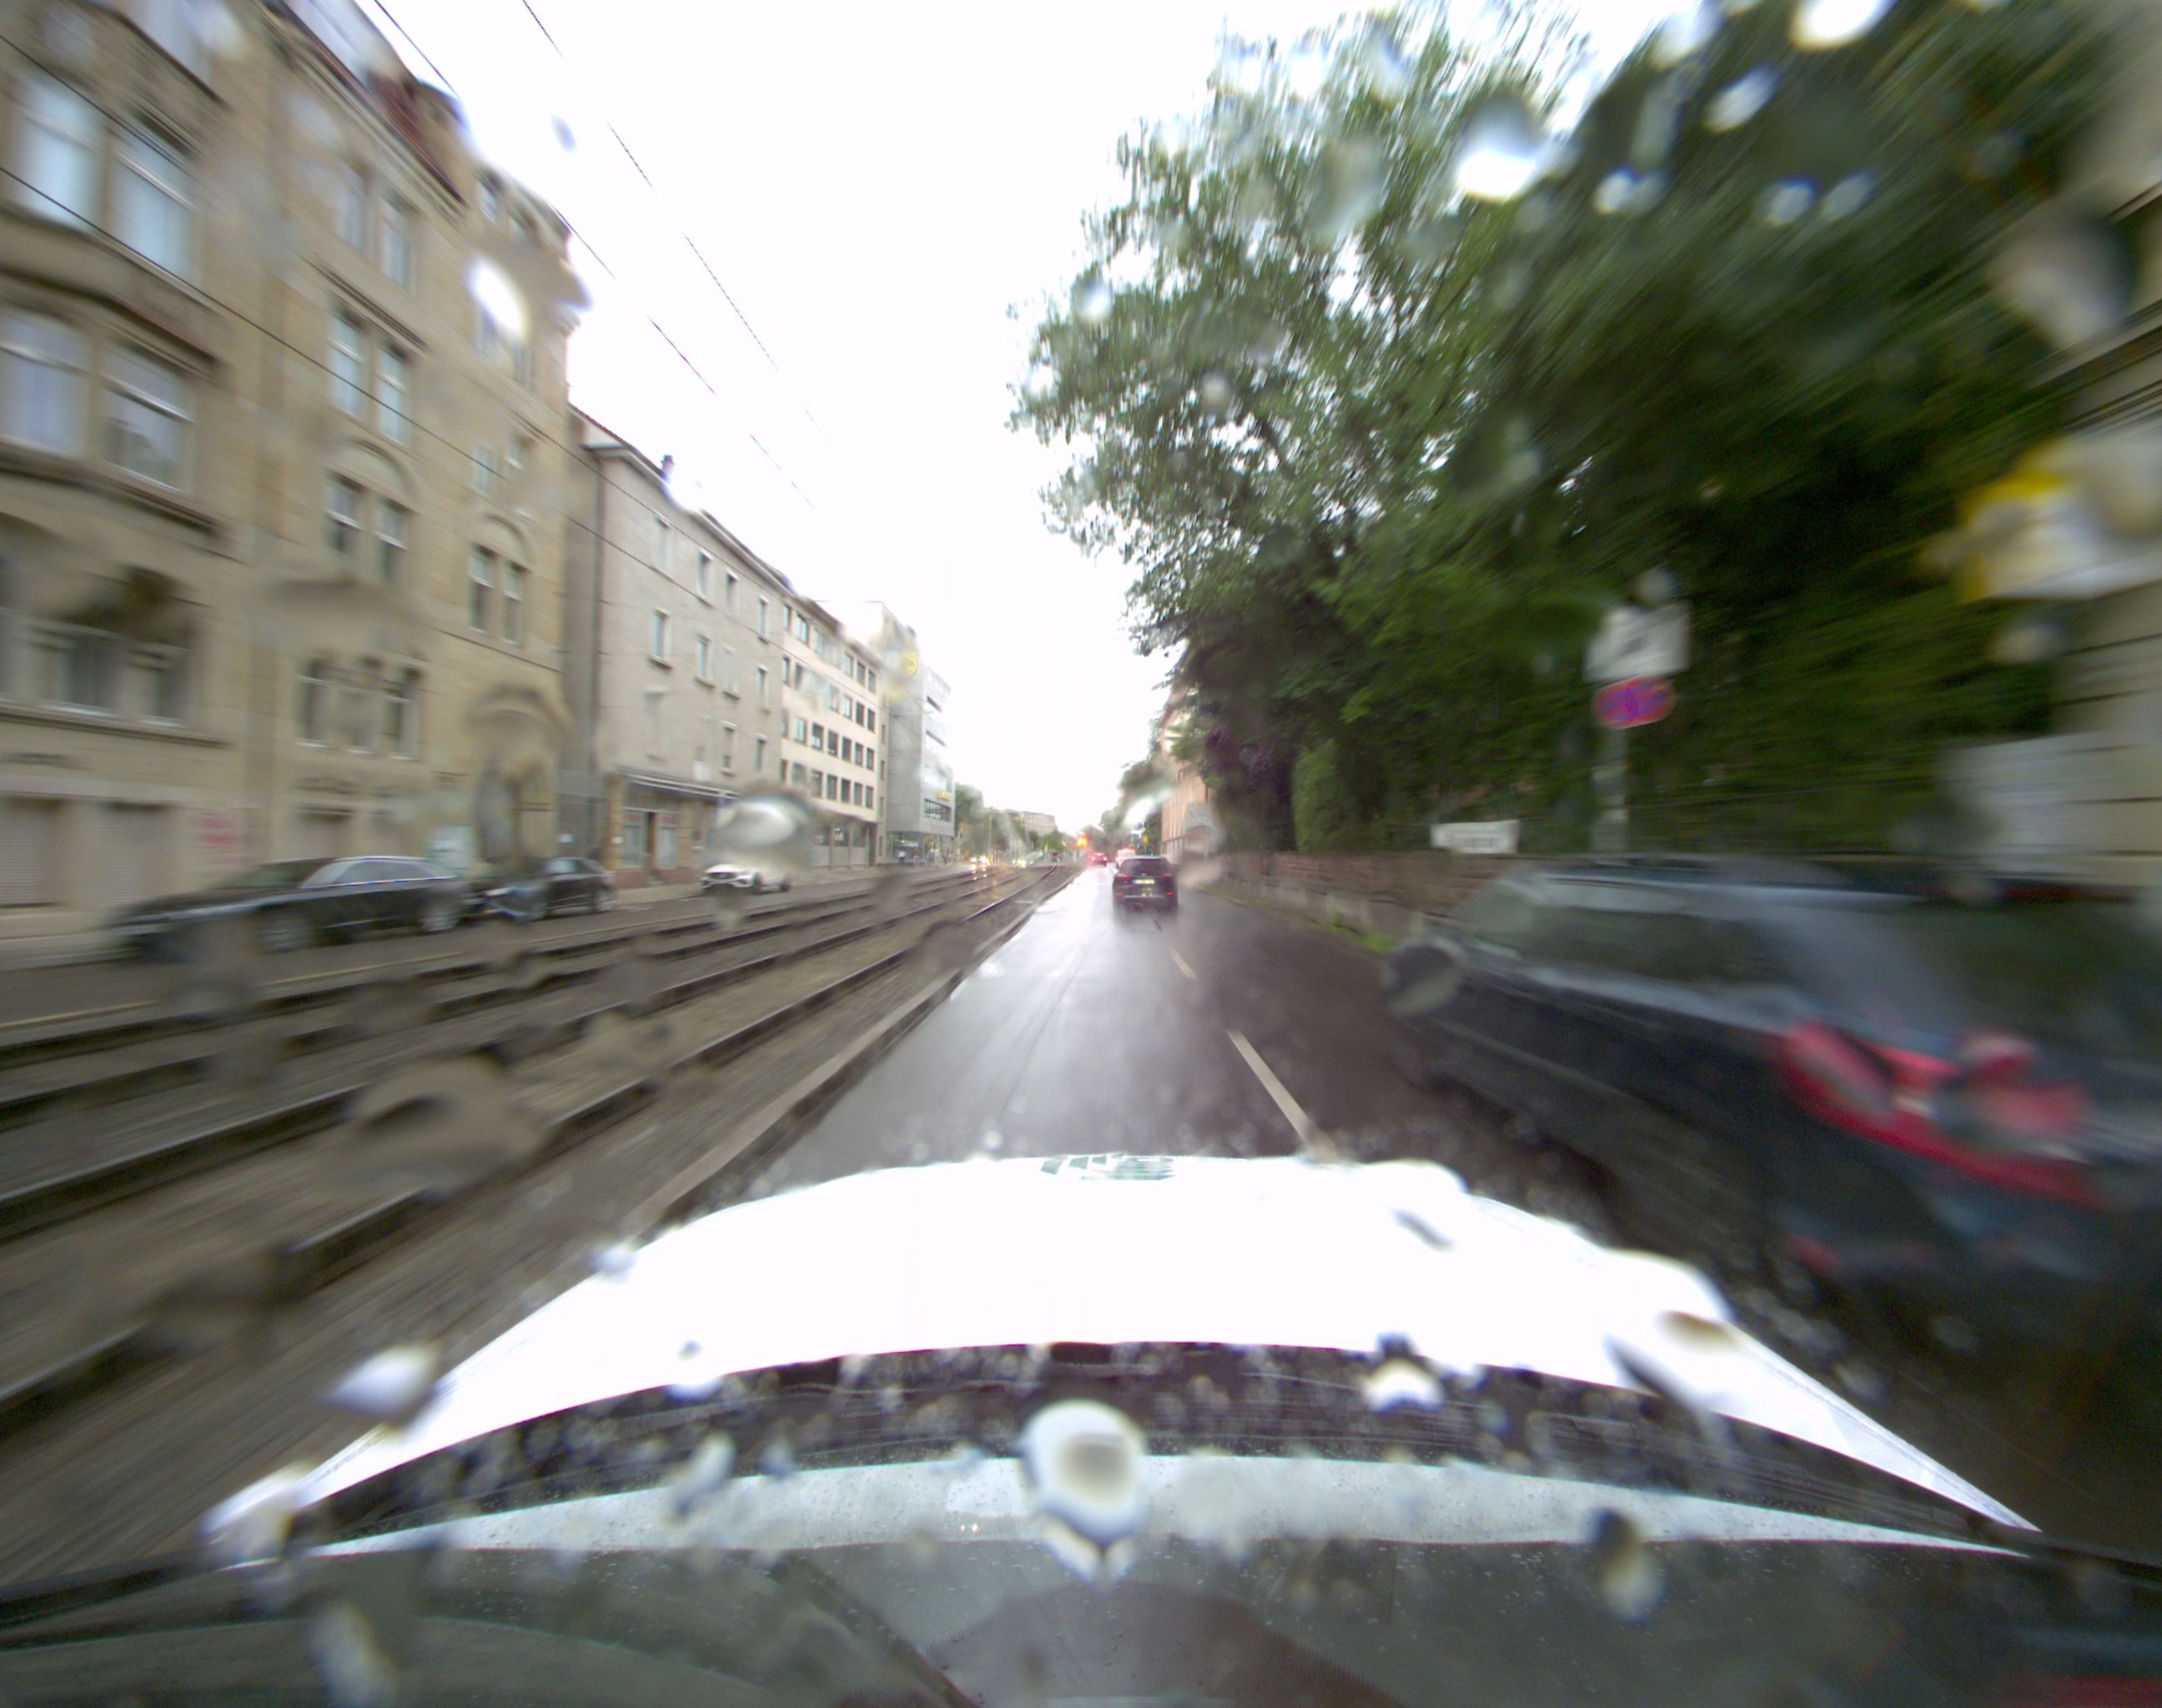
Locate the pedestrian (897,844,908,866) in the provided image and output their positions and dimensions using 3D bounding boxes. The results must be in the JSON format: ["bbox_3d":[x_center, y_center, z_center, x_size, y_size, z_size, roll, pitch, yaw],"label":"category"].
[{"bbox_3d":[-15.240,0.130,69.480,0.741,1.854,0.839,0,-2,0],"label":"pedestrian"}]

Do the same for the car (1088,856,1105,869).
[{"bbox_3d":[1.900,1.044,98.085,1.986,1.594,4.272,0,-1,2],"label":"car"}]

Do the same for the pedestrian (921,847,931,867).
[{"bbox_3d":[-14.487,0.297,75.906,0.741,1.854,0.839,0,-2,0],"label":"pedestrian"}]

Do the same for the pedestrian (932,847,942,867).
[{"bbox_3d":[-13.446,0.305,75.991,0.741,1.854,0.839,0,-2,0],"label":"pedestrian"}]

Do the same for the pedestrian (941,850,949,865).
[{"bbox_3d":[-16.708,0.393,99.892,0.741,1.854,0.839,0,-2,0],"label":"pedestrian"}]

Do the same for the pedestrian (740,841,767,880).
[{"bbox_3d":[-15.033,0.290,37.431,0.799,1.750,0.984,1,-1,0],"label":"pedestrian"}]

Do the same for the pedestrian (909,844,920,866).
[{"bbox_3d":[-14.206,0.098,69.552,0.741,1.854,0.839,0,-2,0],"label":"pedestrian"}]

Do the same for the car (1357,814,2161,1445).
[{"bbox_3d":[2.840,0.678,3.997,1.637,1.516,4.039,1,0,1],"label":"car"}]

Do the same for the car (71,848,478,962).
[{"bbox_3d":[-12.838,0.730,13.561,1.986,1.519,4.677,1,-1,1],"label":"car"}]

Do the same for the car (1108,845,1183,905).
[{"bbox_3d":[1.794,0.607,23.834,1.986,1.594,4.272,0,-1,2],"label":"car"}]

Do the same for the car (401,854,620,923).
[{"bbox_3d":[-12.984,0.731,18.955,1.986,1.376,4.239,1,-1,1],"label":"car"}]

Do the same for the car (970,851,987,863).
[{"bbox_3d":[-13.203,0.366,104.992,1.991,1.442,3.991,1,0,-7],"label":"car"}]

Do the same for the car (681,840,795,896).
[{"bbox_3d":[-12.594,0.504,30.328,1.987,1.839,5.070,1,-1,0],"label":"car"}]

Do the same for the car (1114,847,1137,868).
[{"bbox_3d":[4.062,0.363,74.108,1.986,1.816,4.272,0,-2,2],"label":"car"}]
